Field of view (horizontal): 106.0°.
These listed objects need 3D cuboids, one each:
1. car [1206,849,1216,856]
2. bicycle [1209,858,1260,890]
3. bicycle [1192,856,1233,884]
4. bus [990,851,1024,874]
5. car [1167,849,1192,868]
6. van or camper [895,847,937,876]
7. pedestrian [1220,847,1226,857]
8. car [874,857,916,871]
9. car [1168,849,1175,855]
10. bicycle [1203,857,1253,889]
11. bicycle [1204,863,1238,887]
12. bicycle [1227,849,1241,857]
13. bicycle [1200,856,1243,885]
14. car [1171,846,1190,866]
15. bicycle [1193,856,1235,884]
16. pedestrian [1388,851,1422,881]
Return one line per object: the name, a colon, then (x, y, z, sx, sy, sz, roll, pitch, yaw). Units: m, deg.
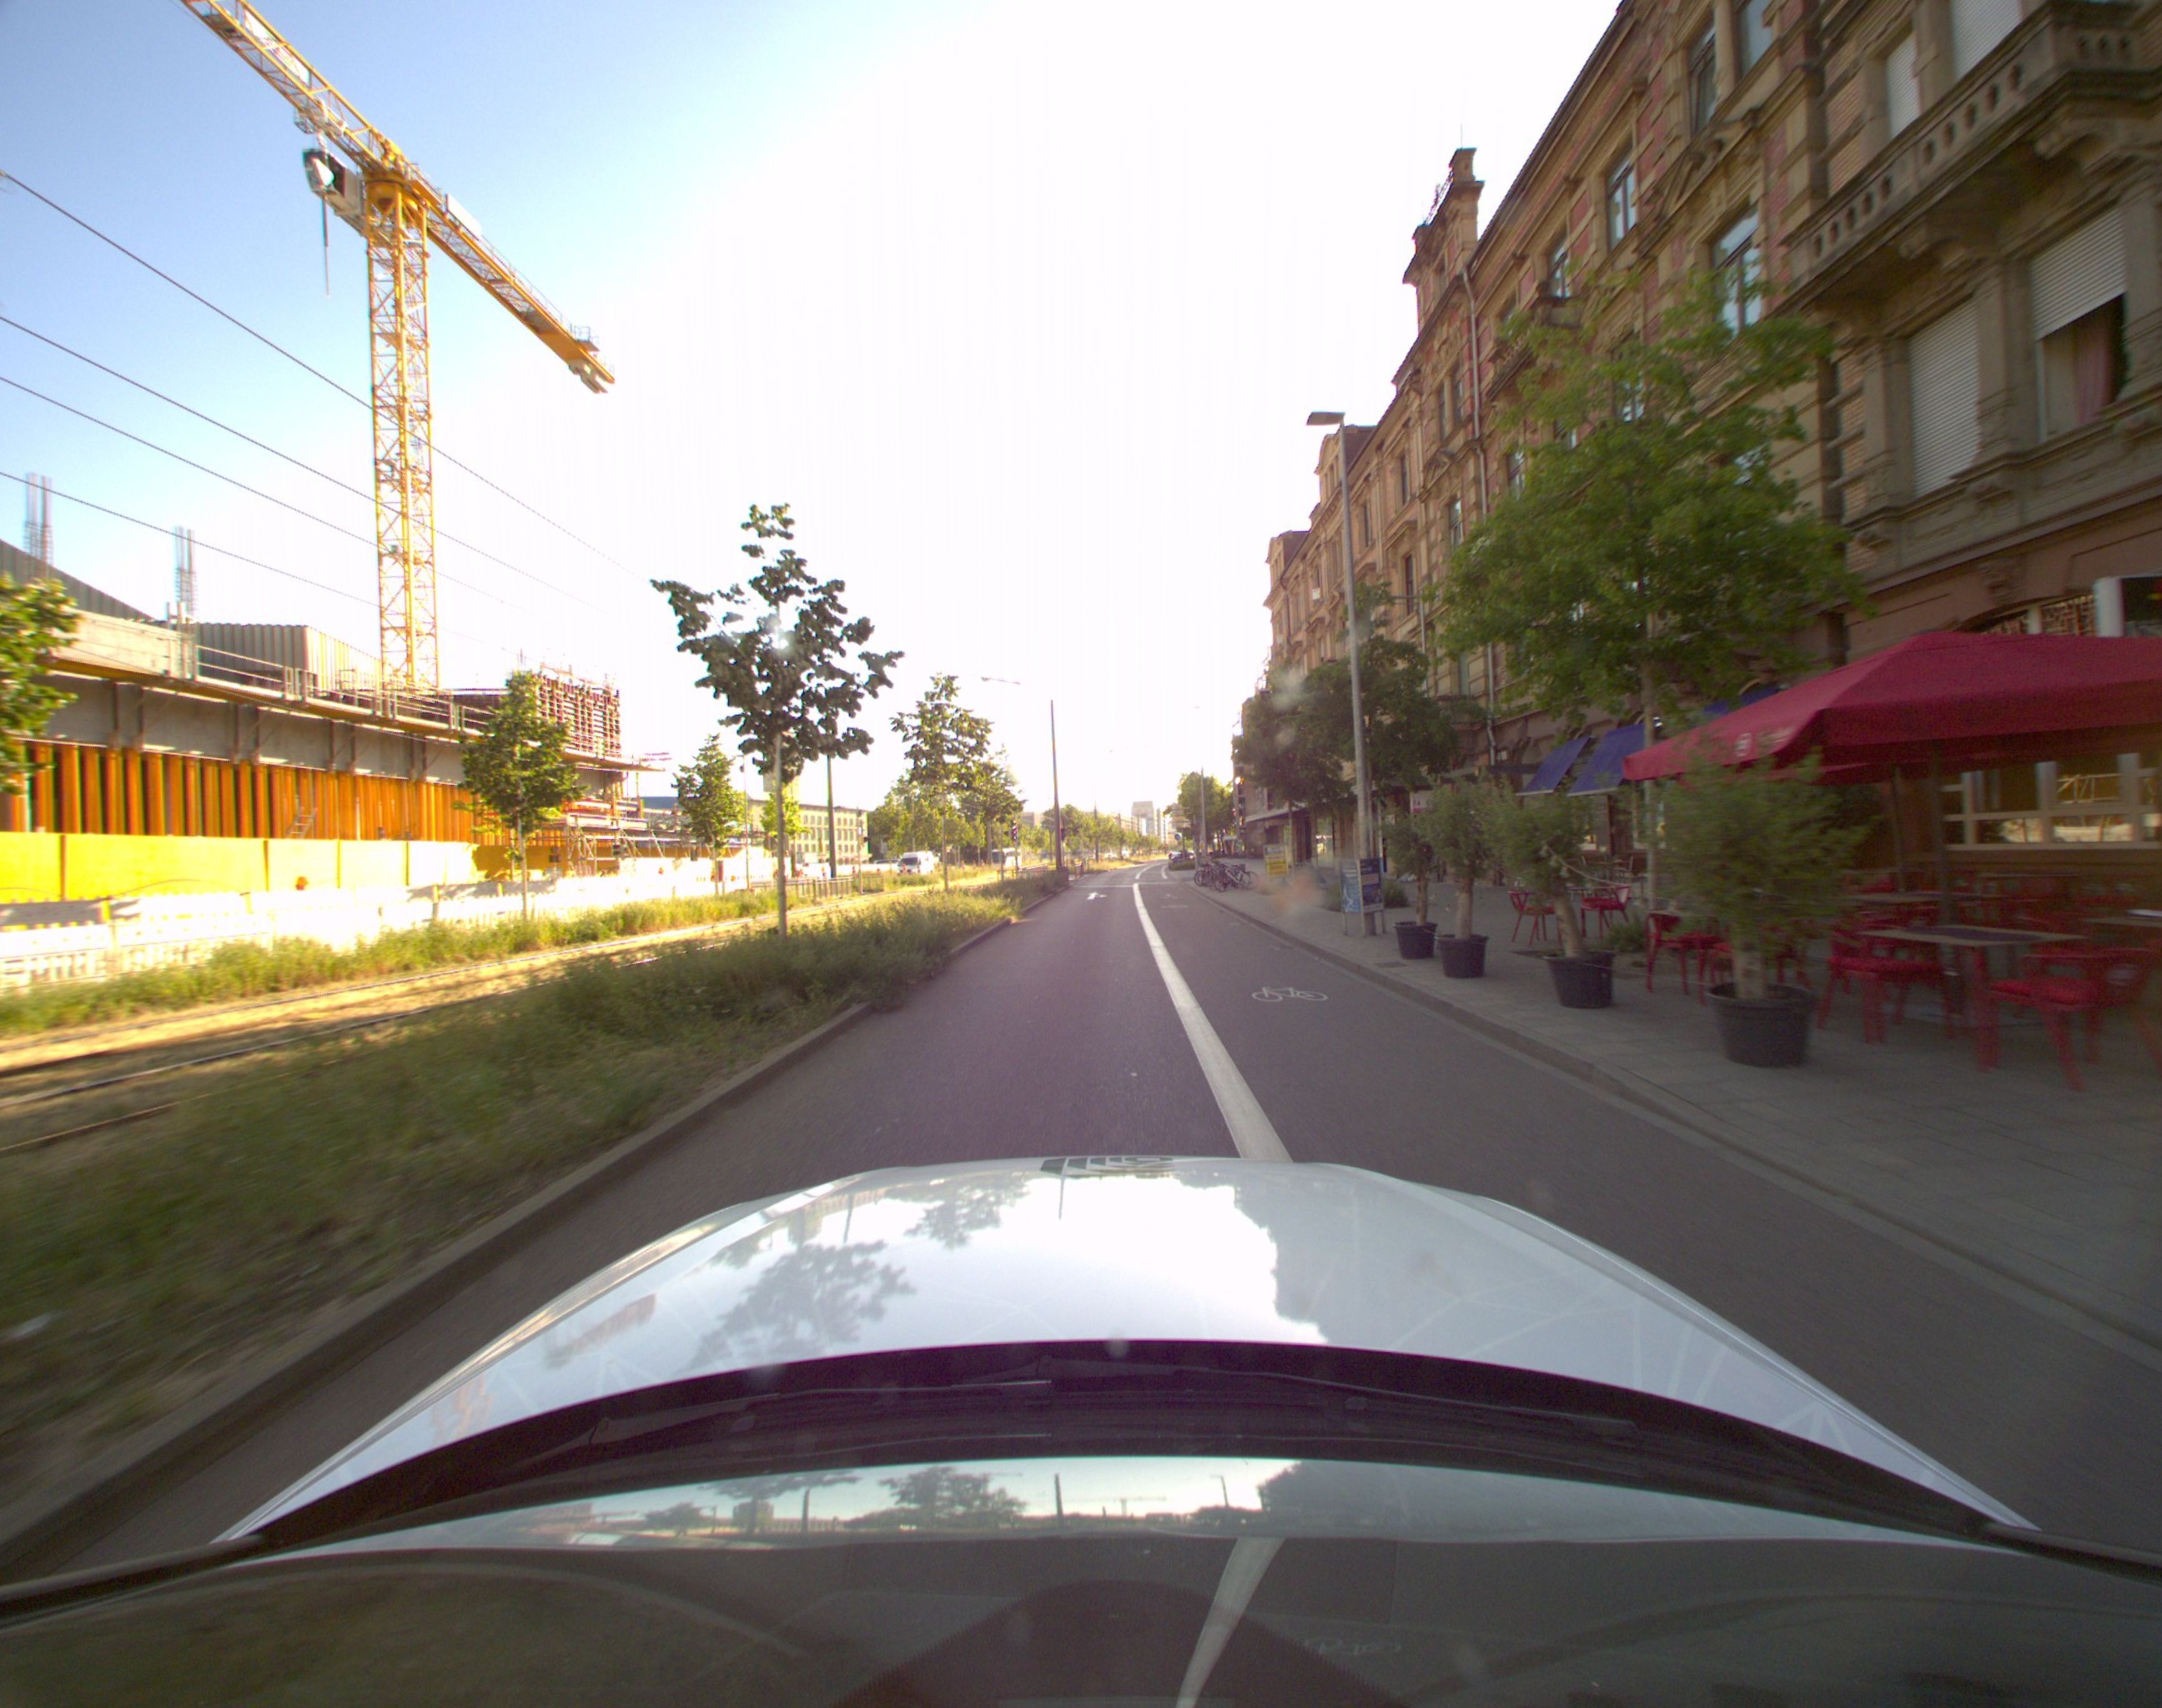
car: (28.449, -0.393, 178.090, 1.695, 1.418, 4.290, -5, 0, 11)
bicycle: (5.753, 0.753, 30.561, 1.795, 1.047, 0.567, -5, 0, 7)
bicycle: (5.982, 0.737, 37.054, 1.744, 1.104, 0.508, -5, 0, 7)
bus: (-12.575, 1.336, 139.937, 2.782, 3.595, 12.730, -2, 0, 9)
car: (9.415, 0.423, 78.279, 1.924, 1.598, 4.702, -4, 0, 2)
van or camper: (-15.895, 0.689, 78.946, 2.213, 2.510, 7.203, -4, 0, 2)
pedestrian: (24.397, -0.331, 139.914, 0.784, 1.648, 1.139, -3, -1, 9)
car: (-25.431, 1.364, 111.444, 5.198, 1.717, 2.129, -2, 0, 7)
car: (24.388, -0.478, 219.704, 1.766, 1.428, 4.010, -1, 0, 9)
bicycle: (5.773, 0.736, 32.086, 1.834, 1.104, 0.567, -5, 0, 7)
bicycle: (5.793, 0.848, 33.739, 1.268, 0.877, 0.508, -5, 0, 7)
bicycle: (21.725, -0.122, 115.617, 1.892, 1.093, 0.393, -4, -1, 3)
bicycle: (6.052, 0.704, 35.178, 1.712, 1.104, 0.508, -5, 0, 7)
car: (10.446, 0.193, 85.667, 1.726, 1.919, 4.401, -4, 0, 6)
bicycle: (5.936, 0.729, 36.464, 1.744, 1.104, 0.508, -5, 0, 7)
pedestrian: (10.933, 0.409, 27.490, 0.810, 0.962, 0.805, -3, 0, 3)
